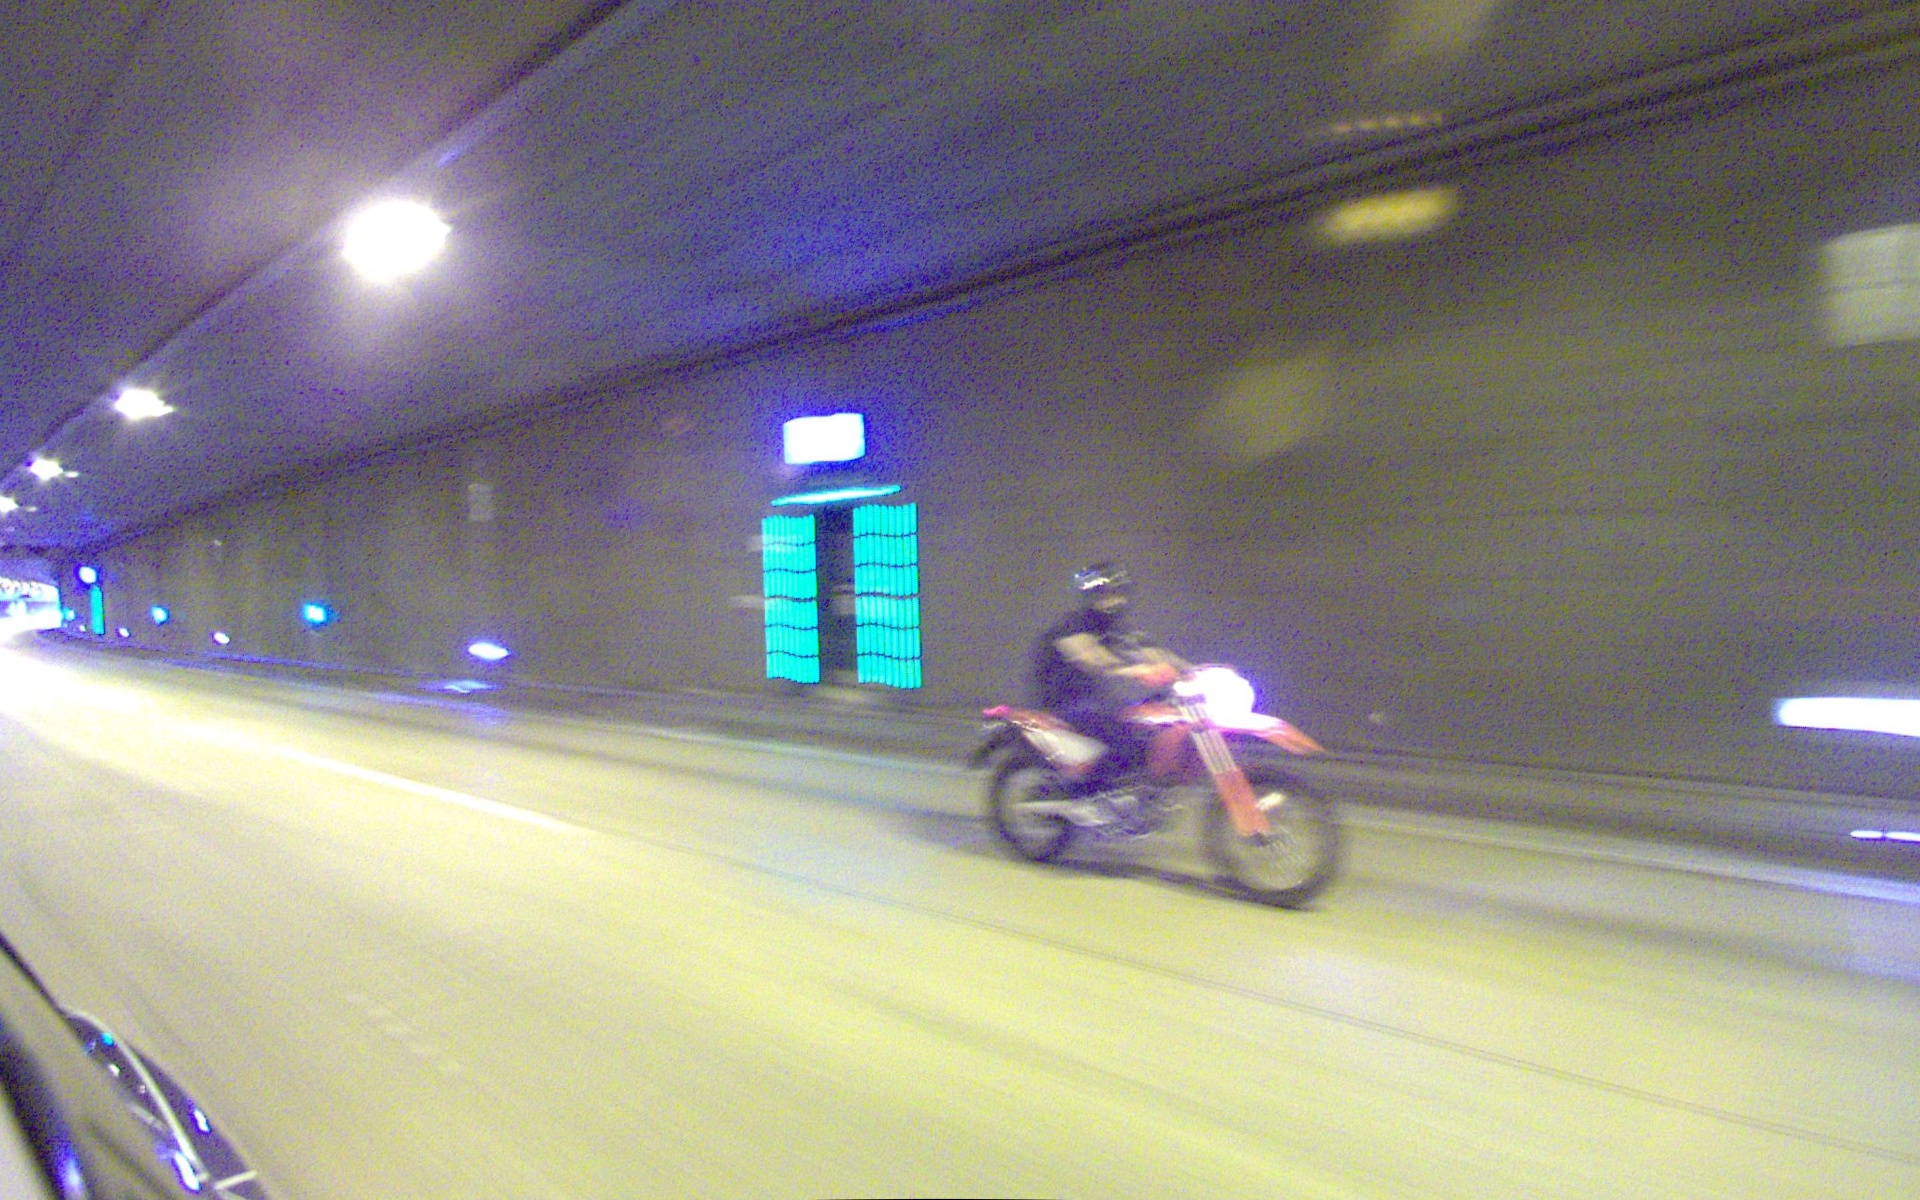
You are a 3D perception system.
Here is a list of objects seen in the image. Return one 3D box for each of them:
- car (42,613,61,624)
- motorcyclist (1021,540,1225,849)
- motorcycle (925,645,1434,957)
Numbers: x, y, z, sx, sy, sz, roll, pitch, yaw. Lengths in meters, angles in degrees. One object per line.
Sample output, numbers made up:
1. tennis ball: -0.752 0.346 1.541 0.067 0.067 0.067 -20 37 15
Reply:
1. car: -151.330 3.027 168.565 1.967 1.812 4.010 -1 0 -36
2. motorcyclist: 0.869 0.466 5.460 0.891 1.500 0.620 -1 -1 45
3. motorcycle: 1.026 0.863 5.298 2.428 1.166 1.041 -1 -1 44
